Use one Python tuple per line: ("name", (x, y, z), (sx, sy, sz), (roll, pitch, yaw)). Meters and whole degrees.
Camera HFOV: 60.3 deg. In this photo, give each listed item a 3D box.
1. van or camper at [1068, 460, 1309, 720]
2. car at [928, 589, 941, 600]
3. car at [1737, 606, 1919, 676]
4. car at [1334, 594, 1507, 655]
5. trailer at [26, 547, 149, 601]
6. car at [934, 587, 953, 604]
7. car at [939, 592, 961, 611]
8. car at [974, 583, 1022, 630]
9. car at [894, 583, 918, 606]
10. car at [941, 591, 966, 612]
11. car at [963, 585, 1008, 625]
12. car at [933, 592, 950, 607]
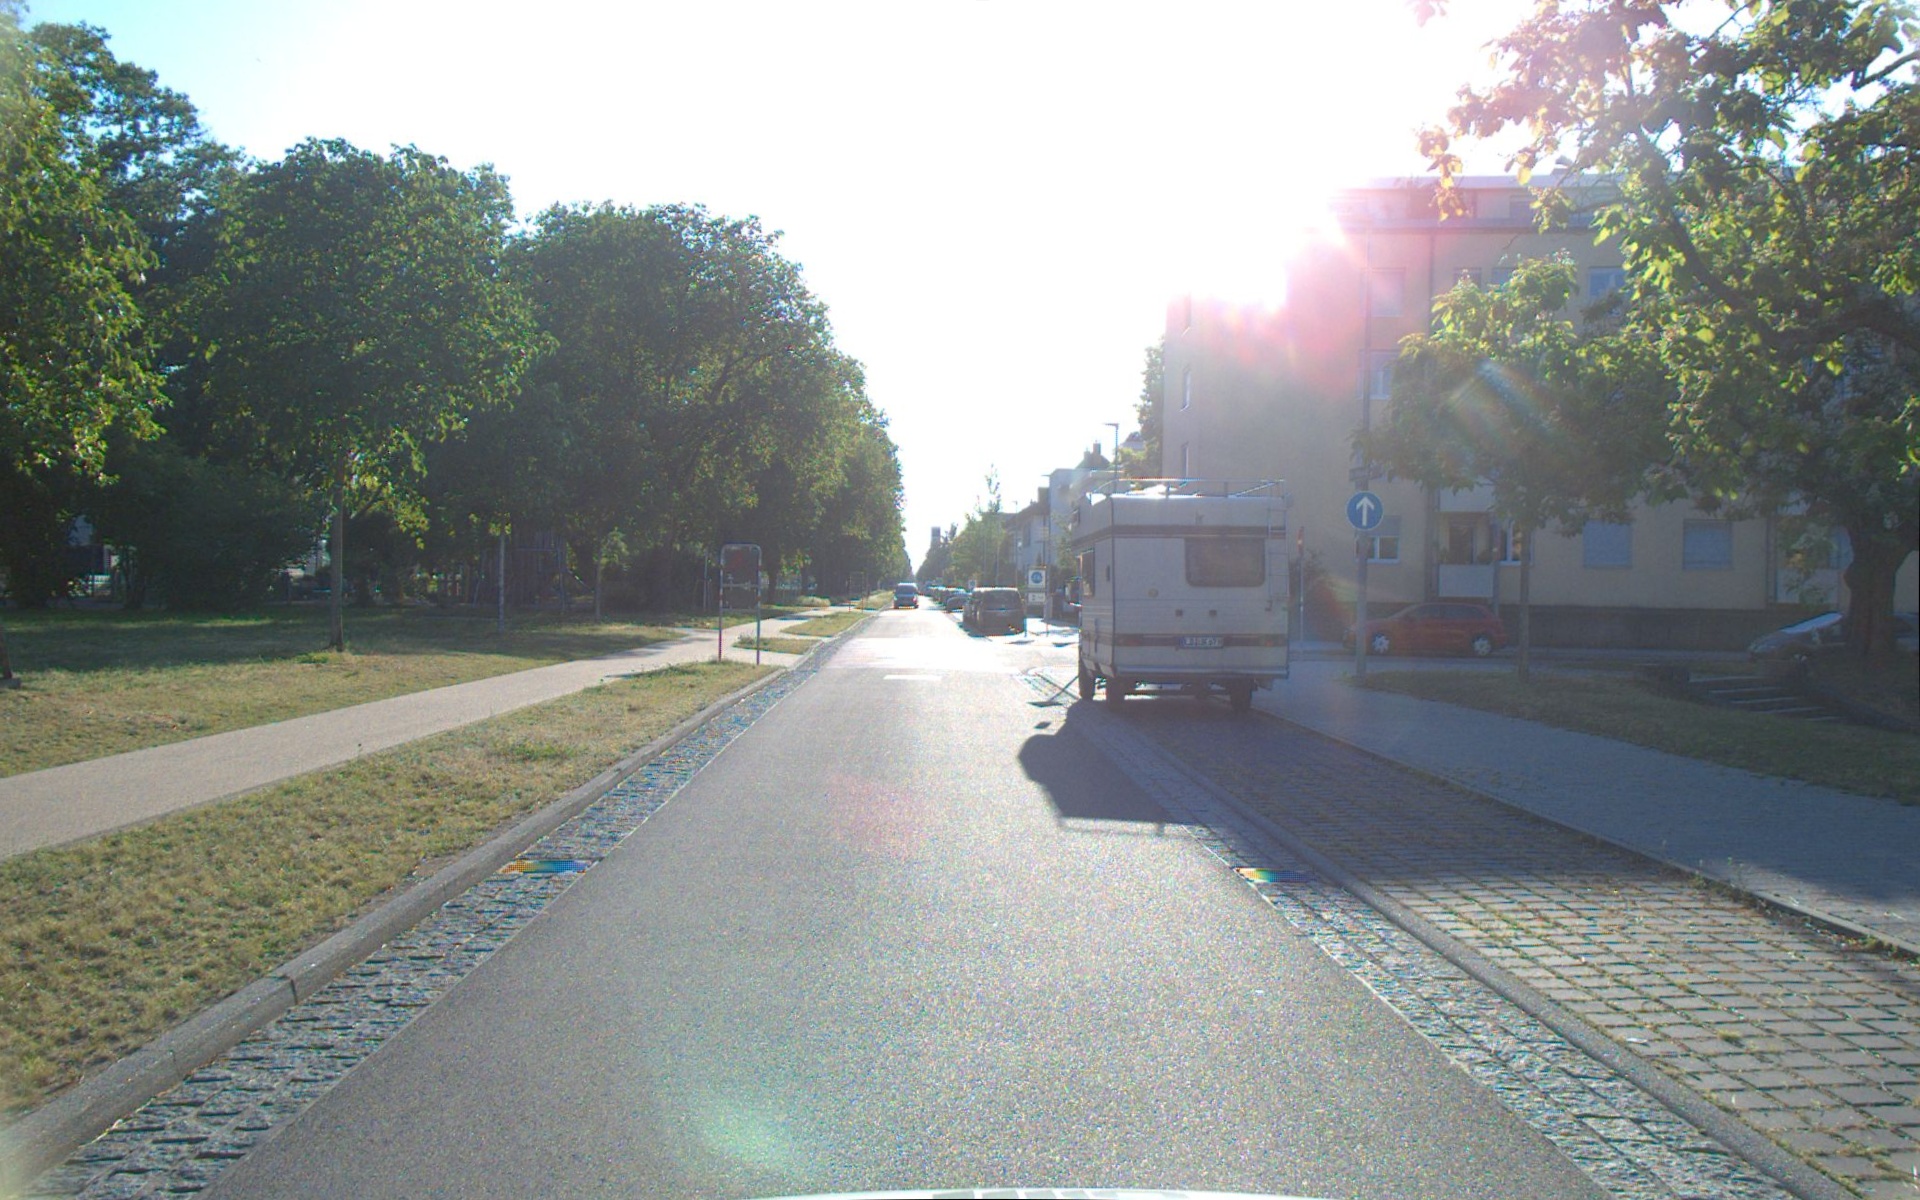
("van or camper", (2.812, -0.077, 21.788), (2.189, 2.955, 5.670), (1, -1, -2))
("car", (-3.321, -0.739, 217.008), (1.593, 1.434, 4.248), (1, 0, -2))
("car", (19.807, 0.897, 37.008), (4.105, 1.488, 1.694), (1, 0, 14))
("car", (12.259, 0.634, 44.237), (4.107, 1.557, 2.001), (1, 0, 2))
("trailer", (-43.160, -1.248, 82.097), (2.409, 2.532, 7.048), (1, 0, -1))
("car", (-1.492, -0.388, 148.532), (1.593, 1.434, 4.248), (1, 0, -2))
("car", (-0.784, 0.107, 128.402), (1.593, 1.434, 4.248), (1, 0, -2))
("car", (1.440, 0.236, 63.337), (1.593, 1.698, 4.248), (1, 0, -2))
("car", (-4.081, -0.399, 124.593), (1.789, 1.698, 4.248), (1, 0, -2))
("car", (-0.464, 0.113, 116.934), (1.593, 1.434, 4.248), (1, 0, -2))
("car", (1.152, 0.220, 74.240), (1.952, 1.747, 4.001), (1, 0, 1))
("car", (-1.841, -0.046, 164.122), (1.593, 1.434, 4.248), (1, 0, -2))
